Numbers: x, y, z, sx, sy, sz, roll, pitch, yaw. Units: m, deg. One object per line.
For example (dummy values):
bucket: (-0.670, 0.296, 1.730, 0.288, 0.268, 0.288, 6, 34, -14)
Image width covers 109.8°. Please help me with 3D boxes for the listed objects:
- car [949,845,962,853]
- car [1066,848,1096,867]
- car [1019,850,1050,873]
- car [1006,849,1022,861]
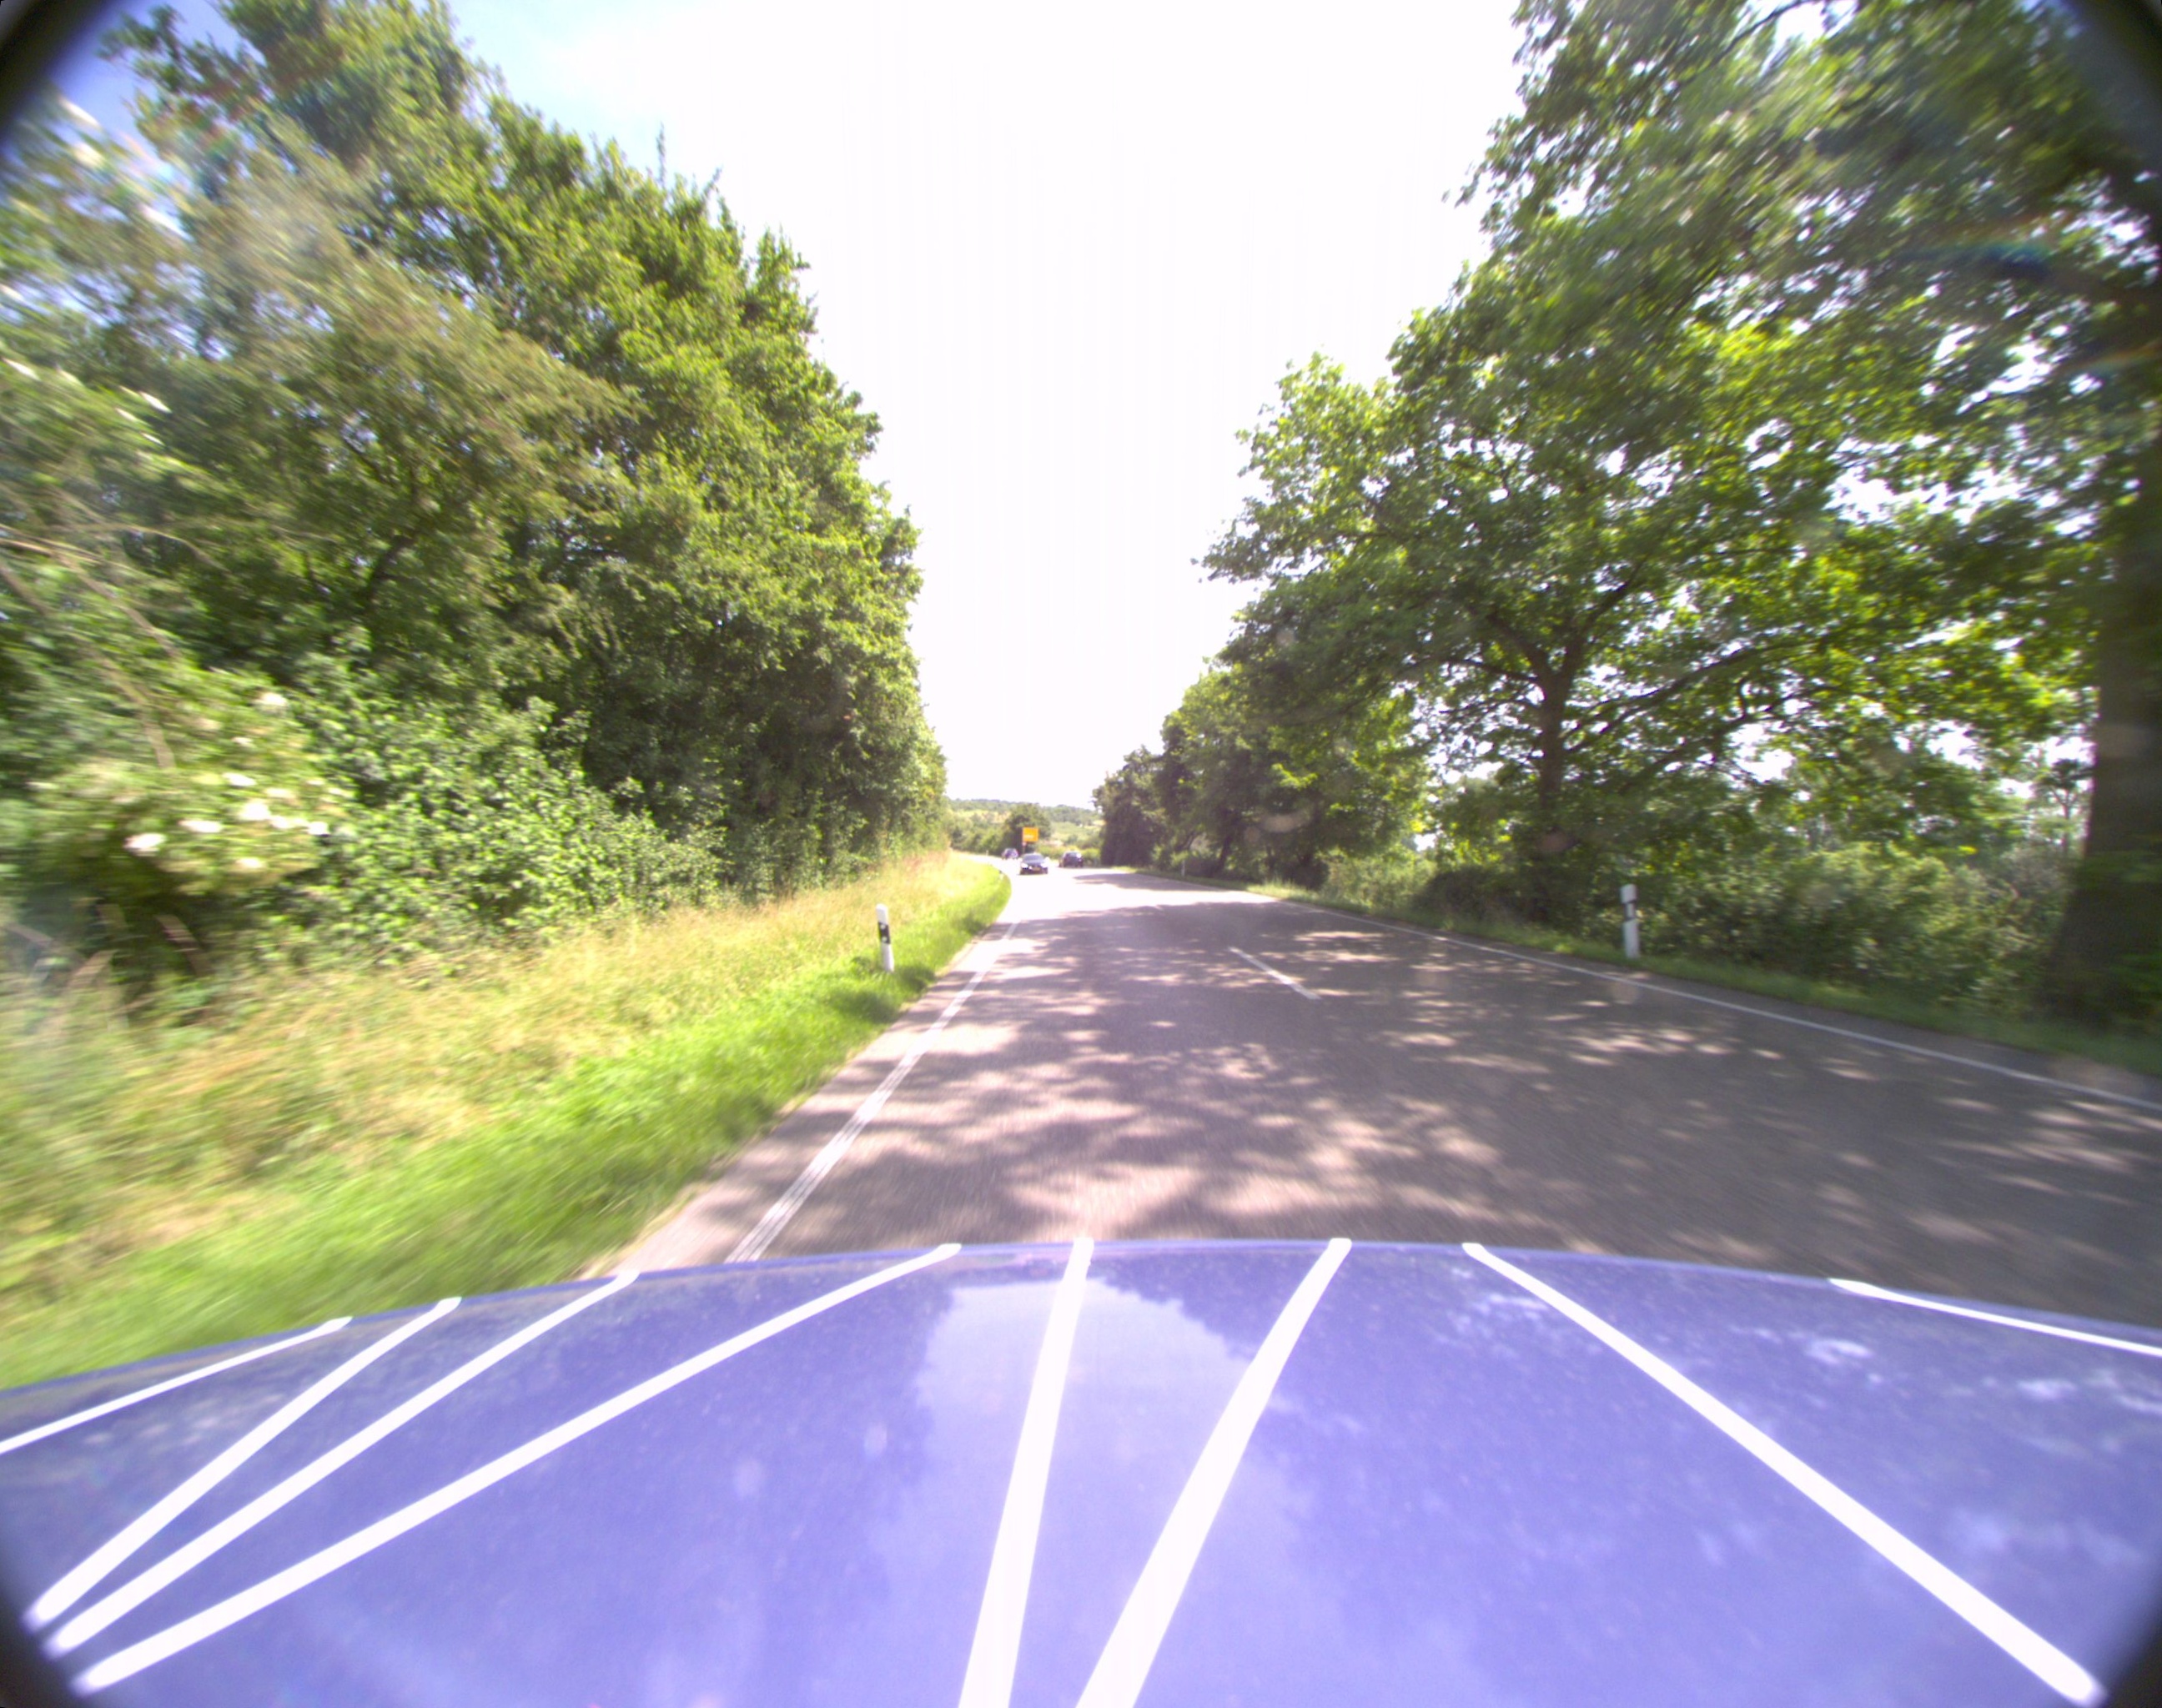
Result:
car: (-24.329, -0.906, 147.699, 1.717, 1.462, 4.367, -1, 1, -19)
car: (-0.019, 0.231, 62.897, 1.765, 1.424, 4.265, 2, 1, -10)
car: (-3.254, 0.486, 52.558, 1.786, 1.440, 4.601, -1, 0, -8)
car: (-9.056, 0.169, 102.490, 1.676, 1.522, 3.954, -1, 0, -11)
